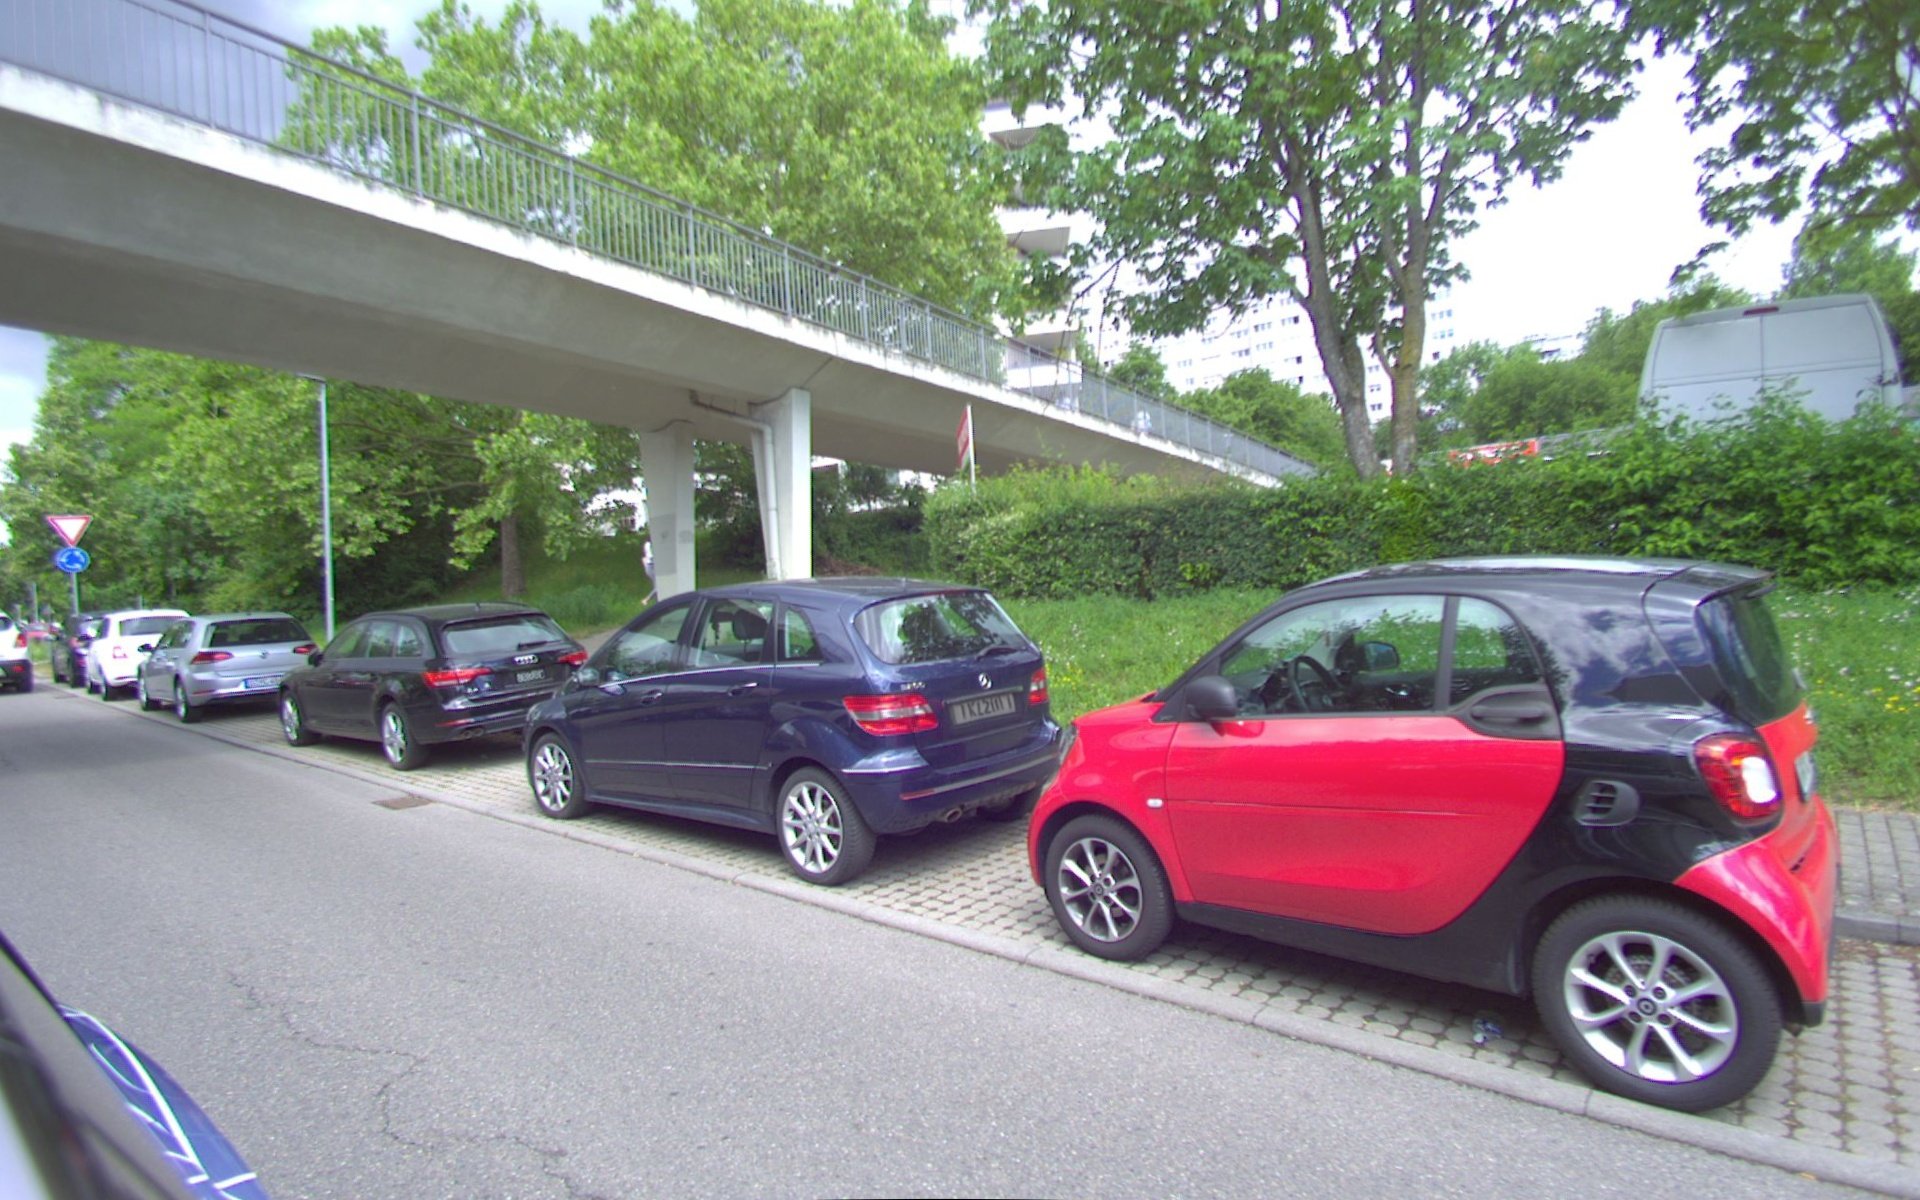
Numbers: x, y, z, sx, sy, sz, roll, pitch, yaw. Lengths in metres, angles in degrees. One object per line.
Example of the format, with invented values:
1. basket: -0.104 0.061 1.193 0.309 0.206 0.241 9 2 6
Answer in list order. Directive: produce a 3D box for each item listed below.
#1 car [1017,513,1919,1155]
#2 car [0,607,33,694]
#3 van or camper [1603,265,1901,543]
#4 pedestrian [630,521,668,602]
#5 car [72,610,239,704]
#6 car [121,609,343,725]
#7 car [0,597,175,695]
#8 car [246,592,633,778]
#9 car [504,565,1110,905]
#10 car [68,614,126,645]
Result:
1. car: 1.766 0.554 3.854 2.712 1.517 1.512 -2 1 42
2. car: -19.810 1.009 19.868 4.046 1.623 1.731 -2 -1 38
3. van or camper: 8.366 -1.779 10.983 1.996 2.101 4.812 -3 0 36
4. pedestrian: -6.902 -0.842 22.453 0.648 1.734 0.742 -3 0 -23
5. car: -14.864 0.962 18.647 3.546 1.471 1.864 0 1 42
6. car: -11.050 0.916 15.271 3.999 1.438 1.865 -2 1 42
7. car: -18.682 0.990 21.453 3.986 1.478 1.774 -8 2 31
8. car: -5.582 0.762 10.629 4.445 1.520 1.867 -2 1 37
9. car: -1.164 0.644 6.681 3.835 1.570 1.866 -2 1 40
10. car: -47.311 1.640 55.562 1.667 1.475 4.469 -6 2 -32
